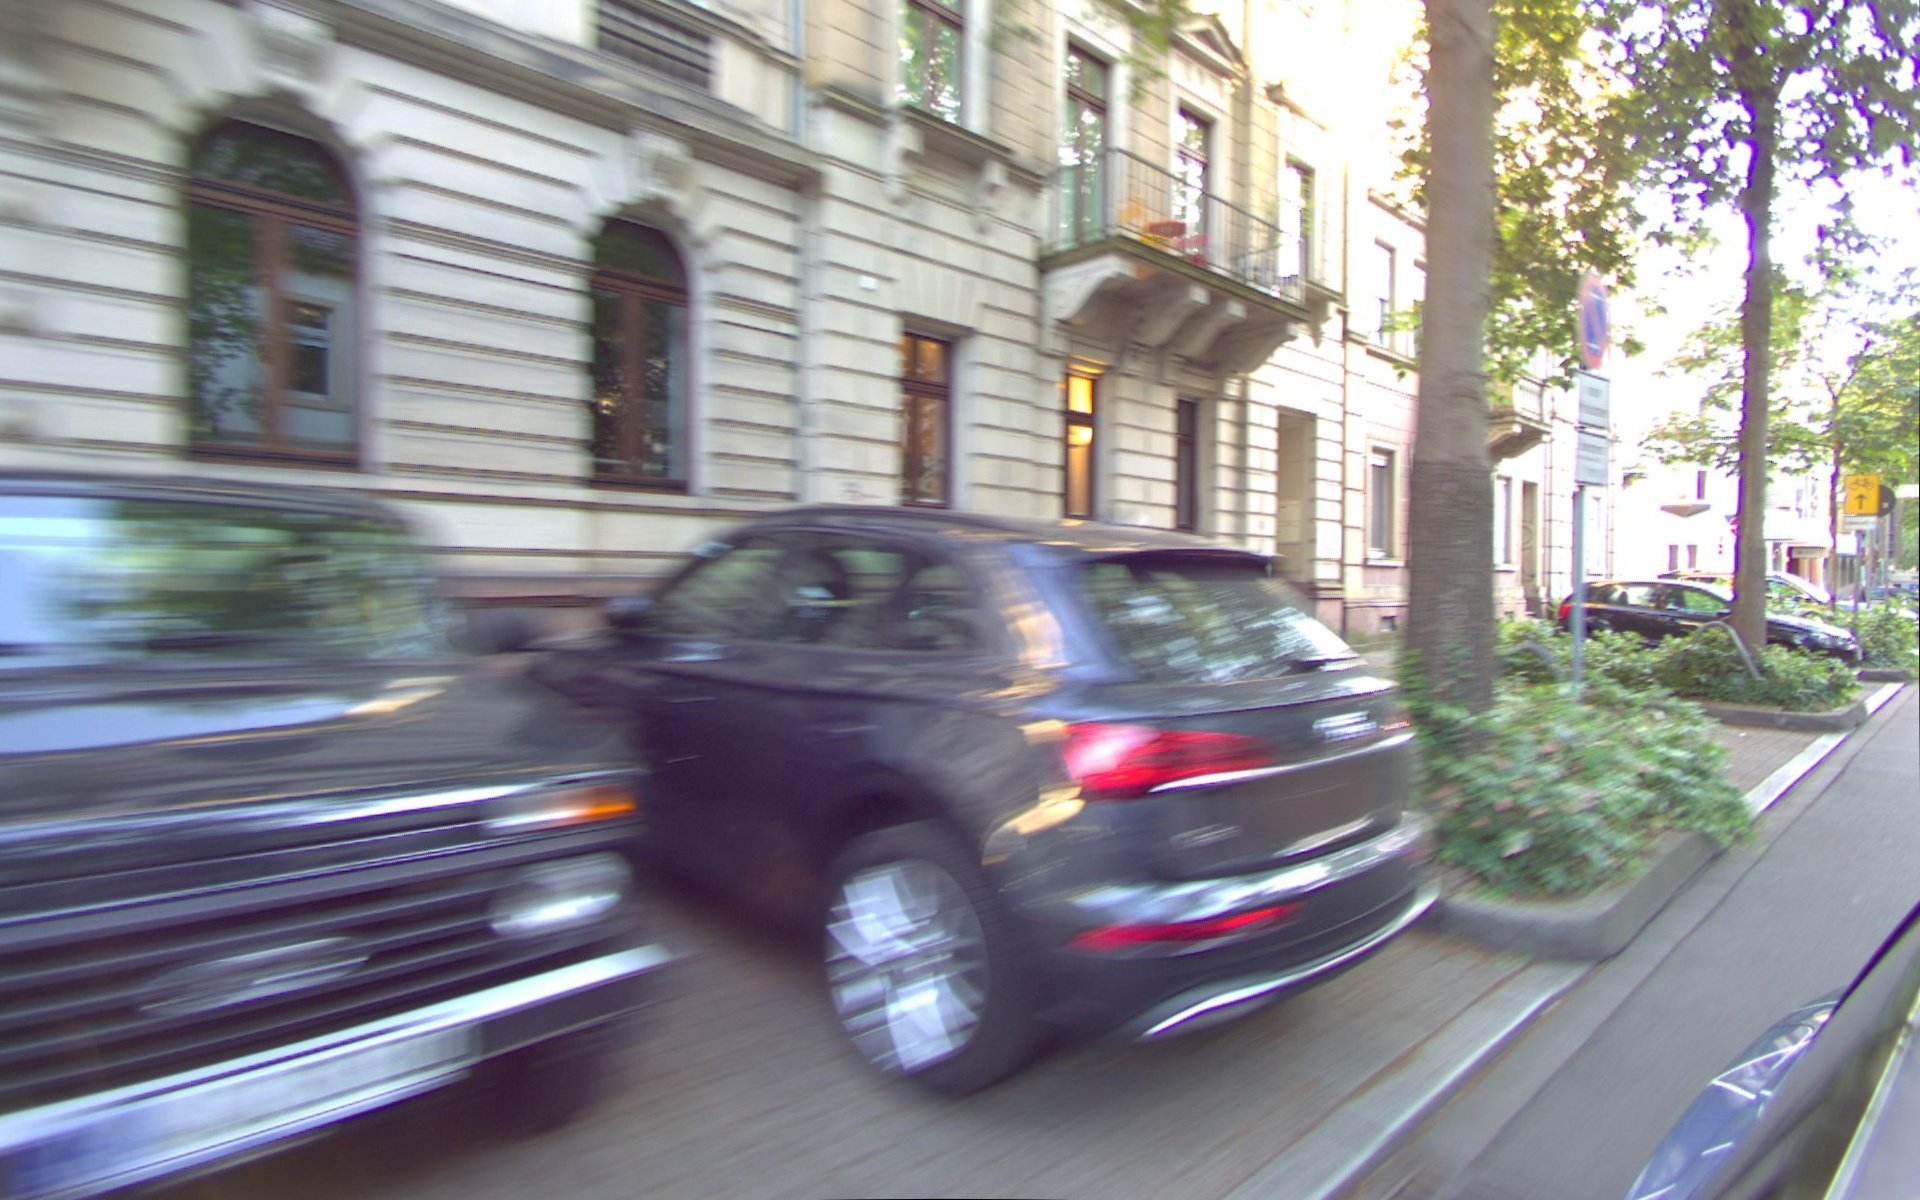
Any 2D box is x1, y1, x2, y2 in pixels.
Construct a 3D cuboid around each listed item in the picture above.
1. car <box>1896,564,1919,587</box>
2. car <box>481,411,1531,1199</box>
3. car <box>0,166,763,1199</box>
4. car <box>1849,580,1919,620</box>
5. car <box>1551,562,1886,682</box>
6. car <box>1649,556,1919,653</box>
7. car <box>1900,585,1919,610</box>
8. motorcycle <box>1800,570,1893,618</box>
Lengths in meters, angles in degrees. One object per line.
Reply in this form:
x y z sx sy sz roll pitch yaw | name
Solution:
62.154 -1.593 64.467 1.563 1.438 3.546 0 -1 -42 | car
-0.321 0.369 4.356 1.935 1.738 4.447 -2 4 -42 | car
-2.410 0.220 3.037 1.735 1.708 4.013 0 2 -42 | car
41.825 -0.006 44.310 1.563 1.697 4.160 0 -1 -42 | car
11.628 0.246 15.687 1.752 1.445 3.871 0 4 -44 | car
16.948 0.024 20.577 1.831 1.580 4.429 1 4 -35 | car
56.724 -0.191 58.374 1.563 1.438 3.546 0 -1 -42 | car
29.858 -0.187 34.131 2.229 1.565 0.765 -1 1 33 | motorcycle
